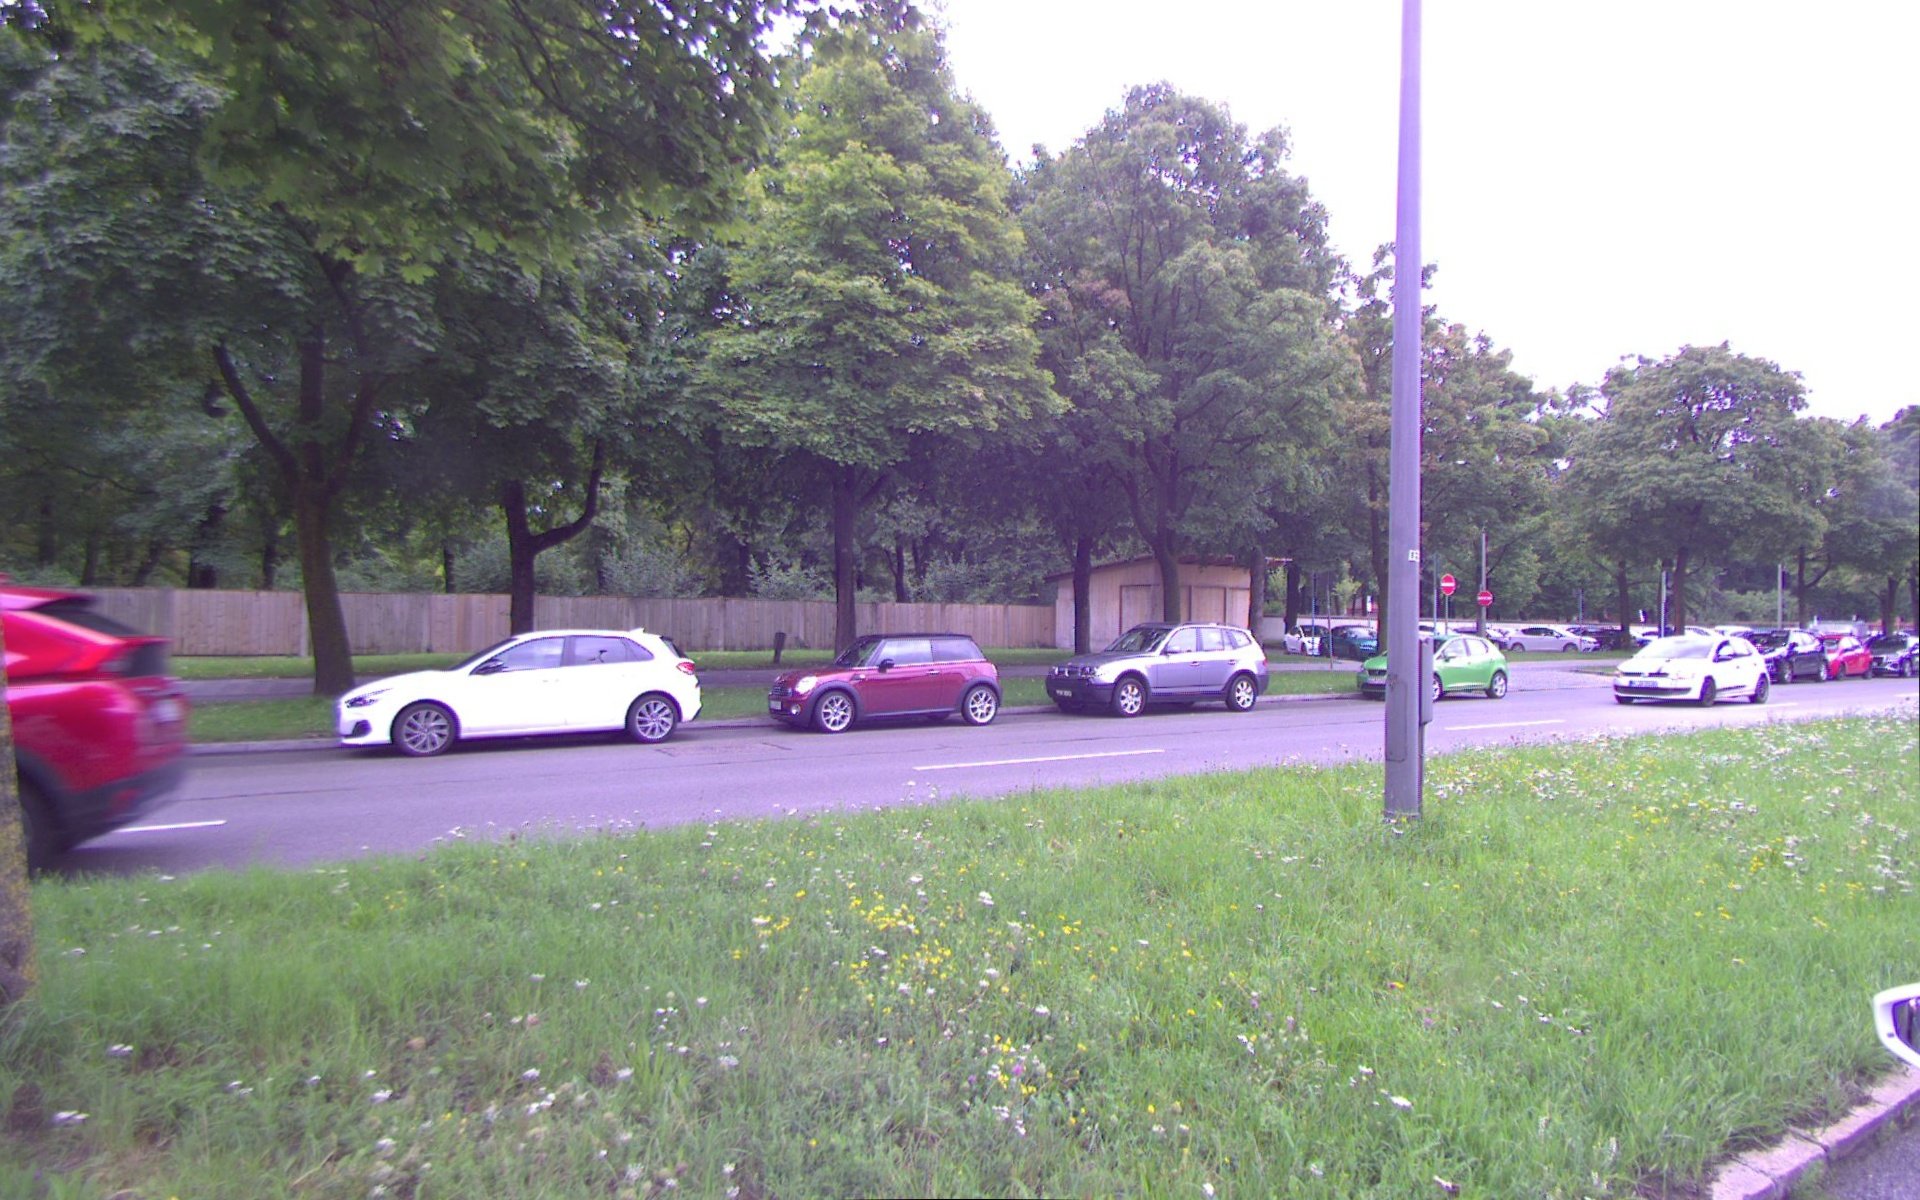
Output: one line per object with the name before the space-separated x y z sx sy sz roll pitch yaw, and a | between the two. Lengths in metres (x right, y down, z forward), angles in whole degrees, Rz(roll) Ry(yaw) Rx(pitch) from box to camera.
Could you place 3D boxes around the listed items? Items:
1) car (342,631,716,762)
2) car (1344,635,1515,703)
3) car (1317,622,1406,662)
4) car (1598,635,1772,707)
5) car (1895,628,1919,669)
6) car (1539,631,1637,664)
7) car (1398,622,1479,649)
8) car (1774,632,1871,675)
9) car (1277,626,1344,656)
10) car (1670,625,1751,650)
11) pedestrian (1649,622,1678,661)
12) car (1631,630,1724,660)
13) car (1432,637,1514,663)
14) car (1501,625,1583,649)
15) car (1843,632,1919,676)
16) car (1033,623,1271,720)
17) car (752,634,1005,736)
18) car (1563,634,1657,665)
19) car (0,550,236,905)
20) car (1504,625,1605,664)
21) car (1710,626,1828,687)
car | -5.463 1.140 12.972 4.229 1.463 1.599 1 -2 -31
car | 10.676 1.506 22.784 3.831 1.428 1.541 1 -2 -28
car | 16.340 1.679 41.122 1.922 1.465 4.421 2 -1 2
car | 15.330 1.443 21.206 3.794 1.393 1.610 1 -3 -31
car | 38.552 1.928 39.536 3.835 1.579 1.582 2 0 -32
car | 31.542 2.366 50.519 1.656 1.465 3.840 2 0 -35
car | 30.398 2.240 63.933 1.653 1.496 4.485 2 -1 -29
car | 29.593 1.818 34.452 3.343 1.329 1.582 2 0 -32
car | 16.220 1.880 46.689 1.639 1.217 4.421 2 -1 2
car | 48.229 2.385 64.579 1.656 1.465 3.840 2 0 -35
pedestrian | 28.949 1.708 41.345 0.712 1.554 0.724 1 0 -30
car | 39.583 2.445 55.507 1.656 1.465 3.840 2 0 -35
car | 33.688 3.291 66.119 1.653 1.465 4.669 2 0 -29
car | 39.851 2.545 68.877 1.653 1.465 4.669 2 0 -29
car | 34.057 1.946 36.689 3.835 1.465 1.658 2 0 -32
car | 3.579 1.255 18.477 4.322 1.607 1.682 1 -2 -32
car | -1.240 1.238 15.516 3.586 1.415 1.584 1 -2 -29
car | 34.410 2.596 53.241 1.656 1.465 3.840 2 0 -35
car | -6.325 0.635 4.991 4.195 1.718 1.895 1 -3 -30
car | 29.062 2.156 49.203 1.656 1.740 3.892 2 0 -35
car | 25.485 1.755 31.621 3.835 1.764 1.707 2 0 -32
